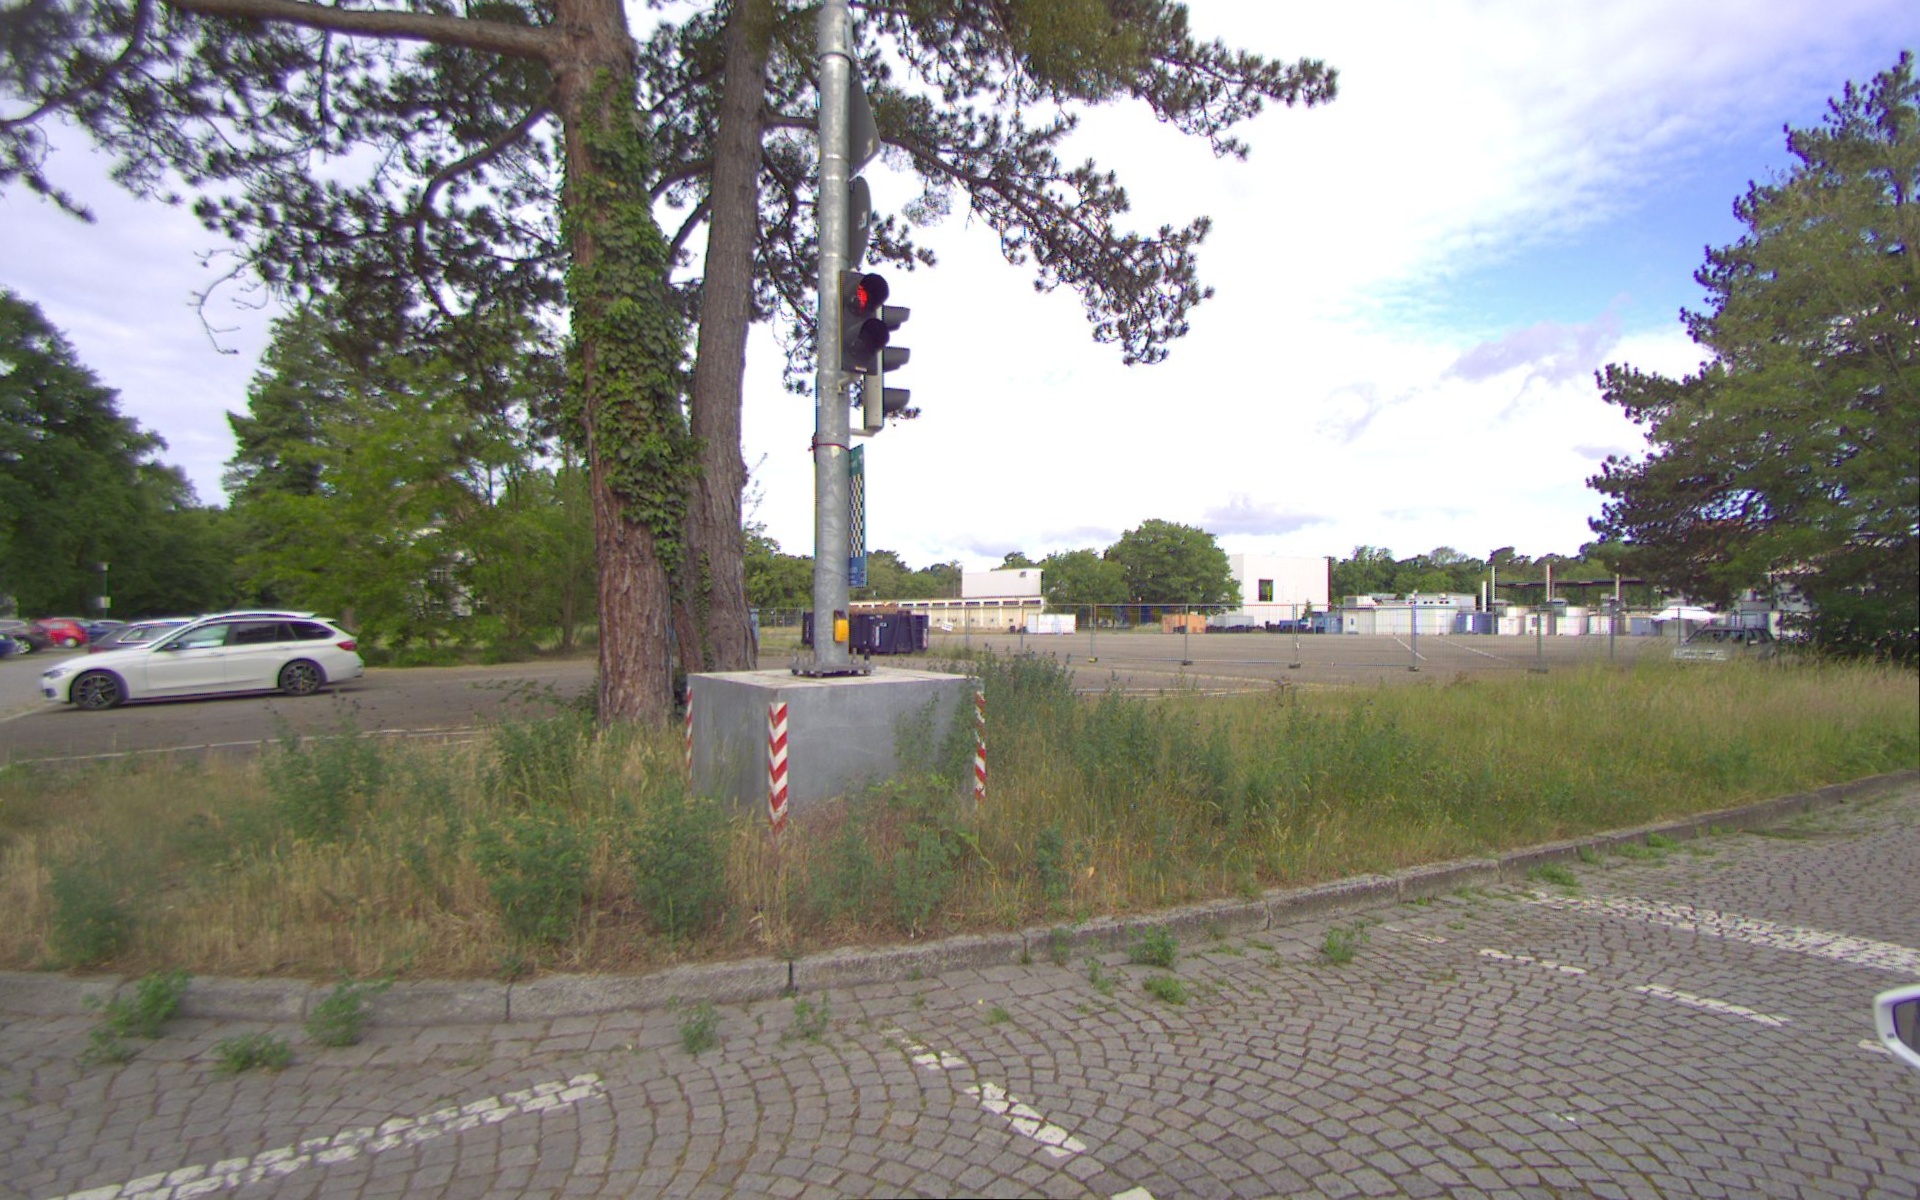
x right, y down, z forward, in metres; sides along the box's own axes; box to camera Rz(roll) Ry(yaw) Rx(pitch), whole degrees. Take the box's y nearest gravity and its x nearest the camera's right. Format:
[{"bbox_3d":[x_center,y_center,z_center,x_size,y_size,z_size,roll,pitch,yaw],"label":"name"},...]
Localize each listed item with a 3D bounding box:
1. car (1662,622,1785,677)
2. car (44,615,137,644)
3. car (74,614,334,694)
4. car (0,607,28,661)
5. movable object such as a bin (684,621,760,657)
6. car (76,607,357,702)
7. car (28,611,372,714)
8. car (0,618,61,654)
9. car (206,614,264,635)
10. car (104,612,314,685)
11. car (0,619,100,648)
[{"bbox_3d":[22.803,1.437,29.949,4.118,1.451,1.719,0,0,-34],"label":"car"},{"bbox_3d":[-54.284,1.863,62.797,4.032,1.717,1.716,2,-2,-25],"label":"car"},{"bbox_3d":[-16.468,1.123,22.189,4.403,1.443,1.706,-2,1,-35],"label":"car"},{"bbox_3d":[-38.647,1.250,38.017,4.553,2.032,1.896,2,-1,-31],"label":"car"},{"bbox_3d":[-7.690,1.260,32.497,2.246,1.140,0.850,2,-1,-34],"label":"movable object such as a bin"},{"bbox_3d":[-14.764,0.999,20.175,4.338,1.619,1.852,-1,0,-38],"label":"car"},{"bbox_3d":[-13.370,1.037,18.063,4.706,1.508,1.849,-1,-1,-35],"label":"car"},{"bbox_3d":[-43.528,1.610,45.362,4.039,1.614,1.641,2,-2,-30],"label":"car"},{"bbox_3d":[-79.133,2.695,109.708,5.102,2.177,1.757,2,-2,-36],"label":"car"},{"bbox_3d":[-18.033,1.106,24.334,3.923,1.490,1.569,-2,1,-36],"label":"car"},{"bbox_3d":[-49.073,1.796,53.951,4.040,1.463,1.712,2,-2,-31],"label":"car"}]
